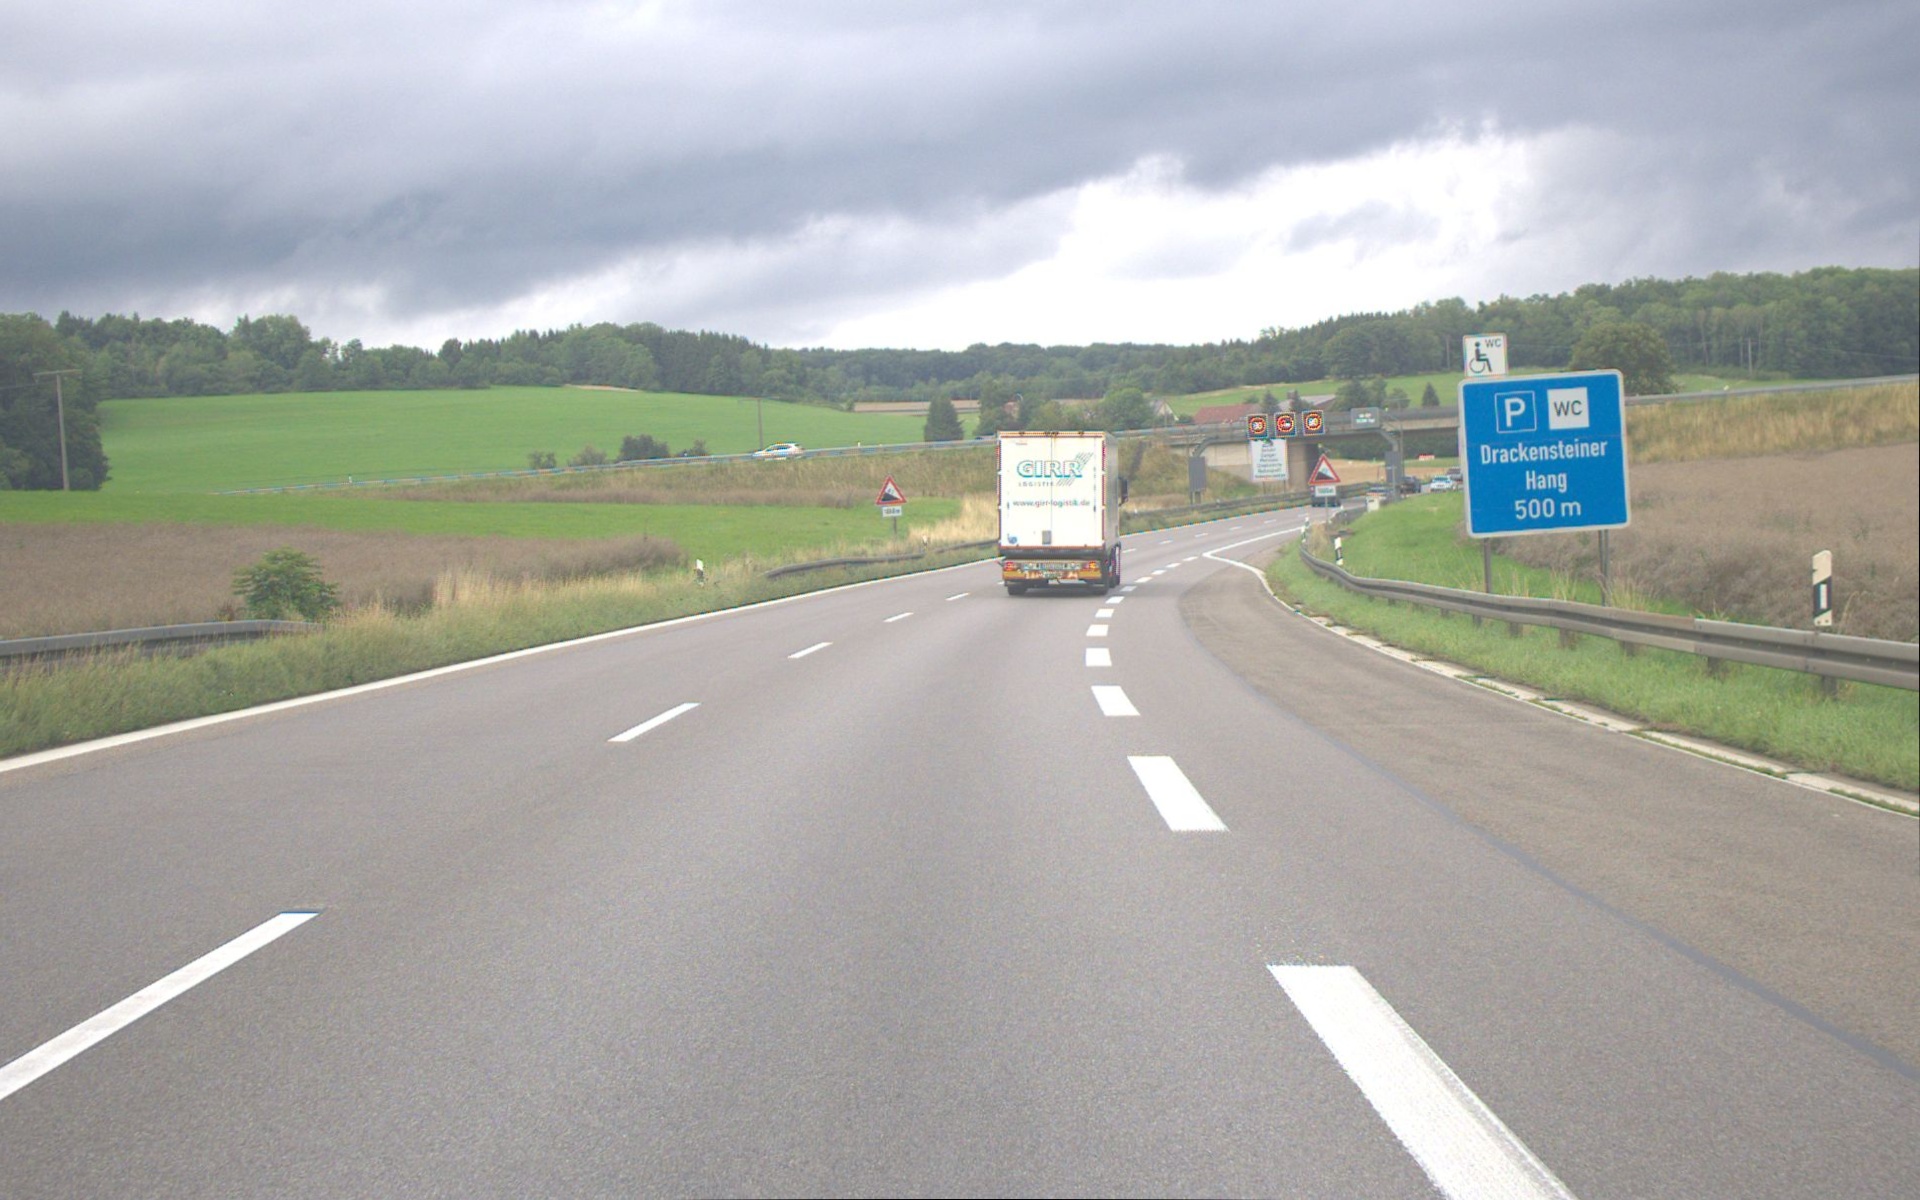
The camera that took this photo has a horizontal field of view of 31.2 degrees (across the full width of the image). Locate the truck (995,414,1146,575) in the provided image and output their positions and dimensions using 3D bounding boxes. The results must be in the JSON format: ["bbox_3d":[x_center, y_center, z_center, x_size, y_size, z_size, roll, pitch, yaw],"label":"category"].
[{"bbox_3d":[3.132,-2.841,94.831,3.788,4.118,8.264,-2,1,4],"label":"truck"}]

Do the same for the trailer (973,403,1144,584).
[{"bbox_3d":[2.695,-2.670,87.711,3.806,4.160,14.807,-1,1,4],"label":"trailer"}]
